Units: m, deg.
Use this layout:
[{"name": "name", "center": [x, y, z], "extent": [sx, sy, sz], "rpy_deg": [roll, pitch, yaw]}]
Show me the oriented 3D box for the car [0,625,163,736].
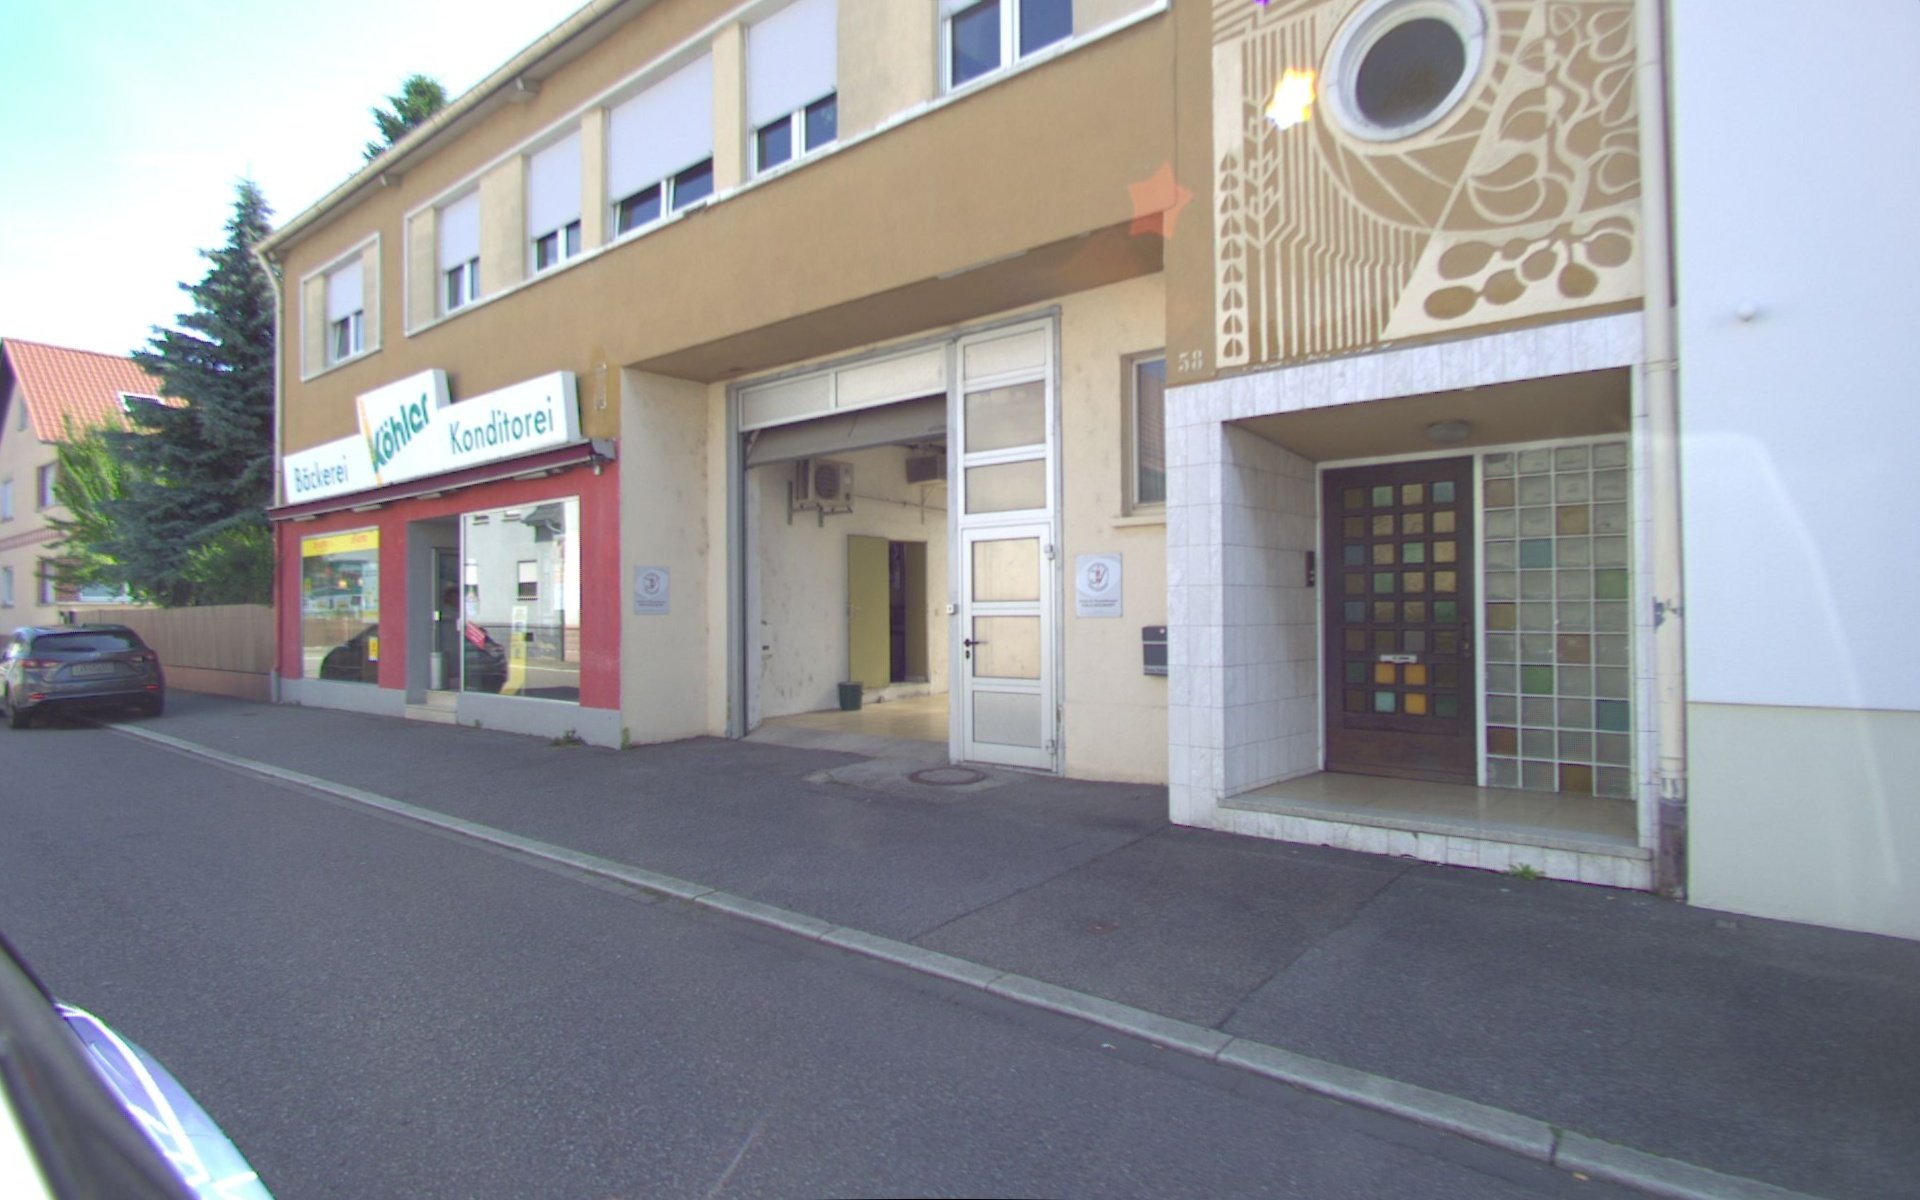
[{"name": "car", "center": [-14.026, 1.144, 15.798], "extent": [4.435, 1.471, 1.749], "rpy_deg": [-2, -1, 42]}]
